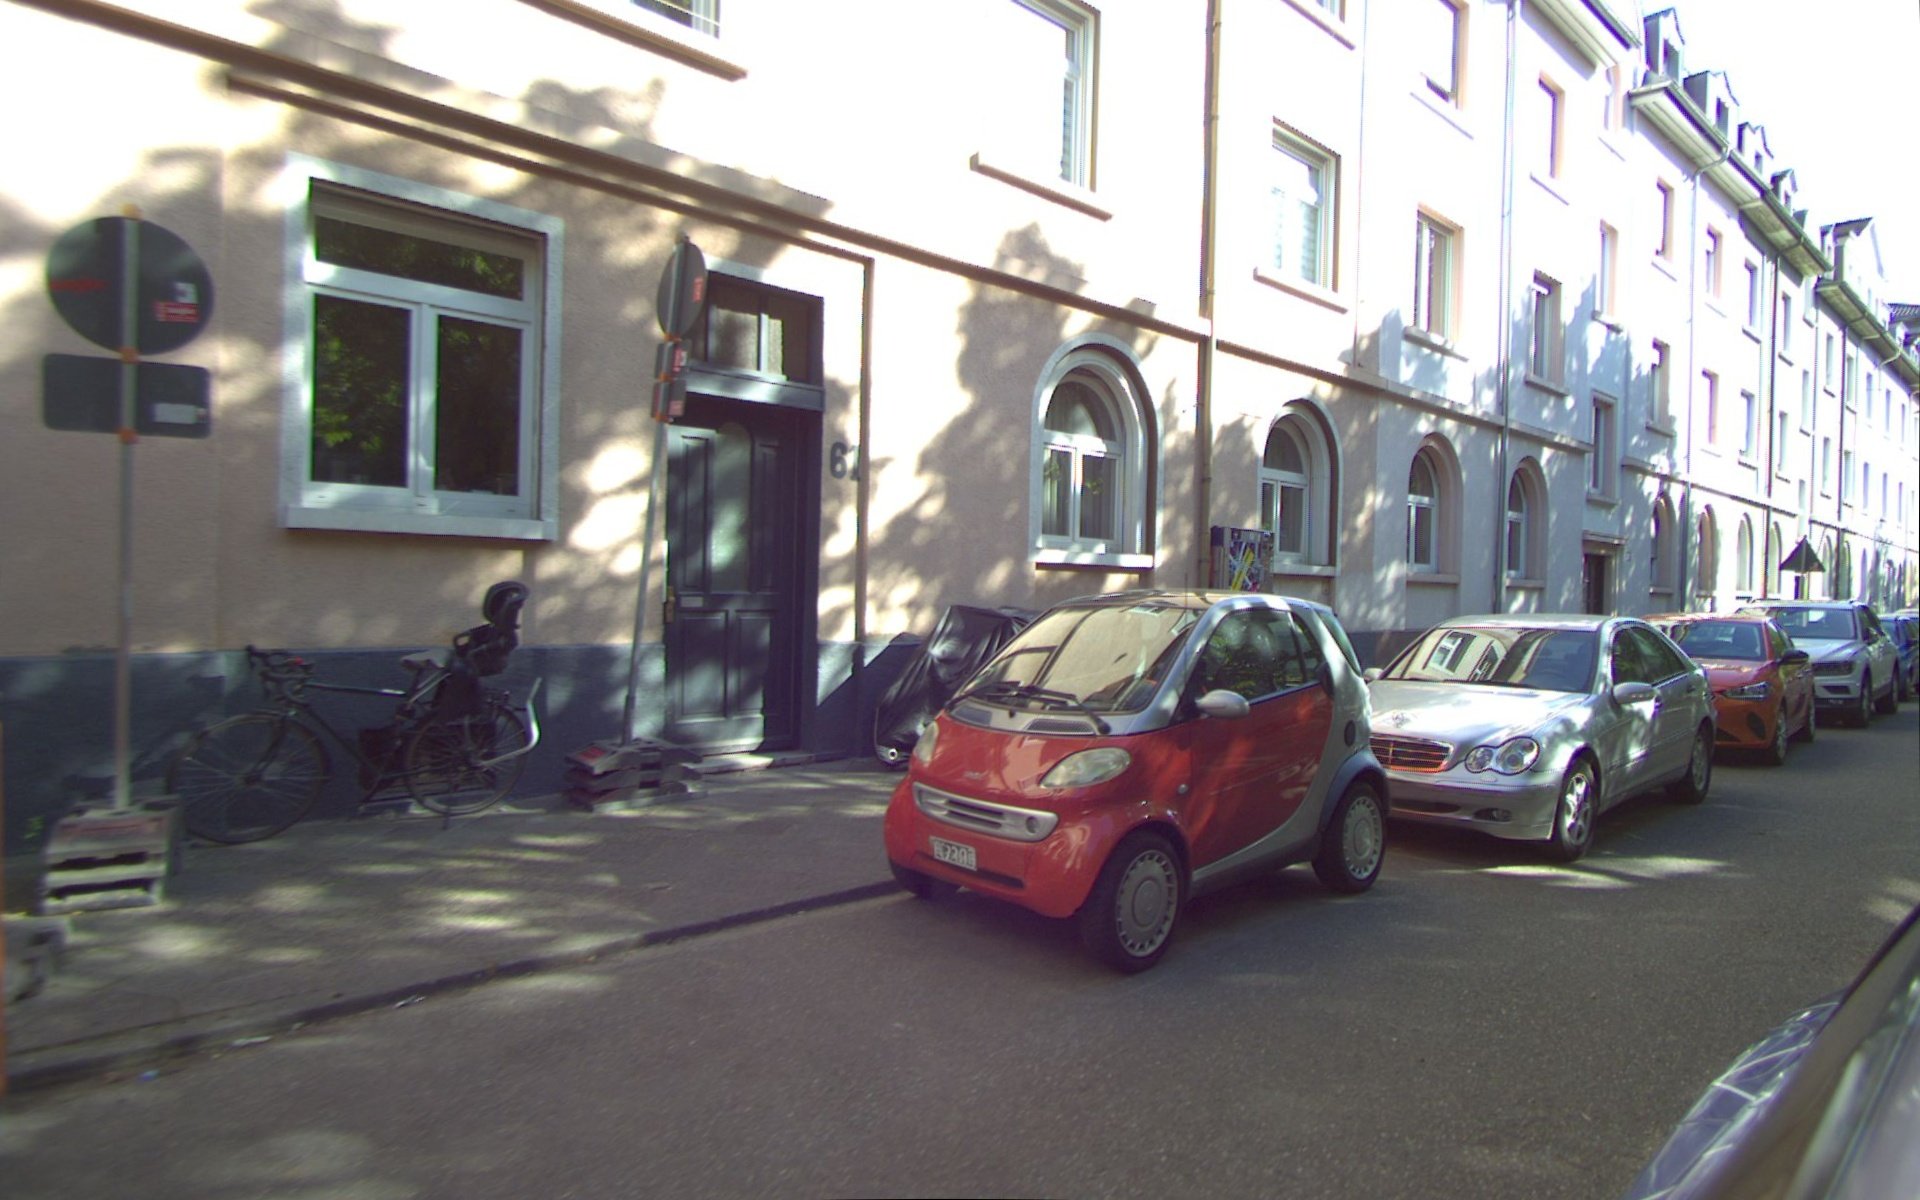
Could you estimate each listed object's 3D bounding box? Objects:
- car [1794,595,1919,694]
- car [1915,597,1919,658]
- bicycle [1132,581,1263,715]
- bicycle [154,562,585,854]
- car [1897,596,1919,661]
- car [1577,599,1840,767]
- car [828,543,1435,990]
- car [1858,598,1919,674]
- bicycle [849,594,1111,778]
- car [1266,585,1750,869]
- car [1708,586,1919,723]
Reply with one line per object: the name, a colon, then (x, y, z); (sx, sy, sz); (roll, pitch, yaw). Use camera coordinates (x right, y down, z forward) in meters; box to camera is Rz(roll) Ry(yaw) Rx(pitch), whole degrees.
car: (16.179, 0.712, 17.867); (3.544, 1.531, 1.670); (0, 1, -41)
car: (27.415, 0.762, 27.399); (3.930, 1.614, 1.862); (0, 1, -41)
bicycle: (2.343, 0.435, 9.888); (1.503, 1.217, 0.427); (0, 1, -41)
bicycle: (-3.137, 0.501, 5.549); (1.986, 1.364, 0.445); (0, 1, -41)
car: (23.587, 0.668, 24.055); (3.343, 1.473, 1.576); (0, 1, -41)
car: (8.221, 0.739, 10.981); (3.907, 1.445, 1.668); (0, 1, -44)
car: (0.976, 0.568, 5.091); (2.917, 1.577, 1.489); (0, 1, -41)
car: (19.894, 0.705, 20.903); (3.544, 1.455, 1.576); (0, 1, -41)
bicycle: (0.228, 0.605, 8.106); (2.301, 1.298, 0.542); (0, 1, -40)
car: (4.189, 0.670, 7.428); (4.170, 1.482, 1.764); (0, 1, -41)
car: (12.066, 0.651, 14.187); (4.199, 1.619, 1.670); (0, 1, -41)
